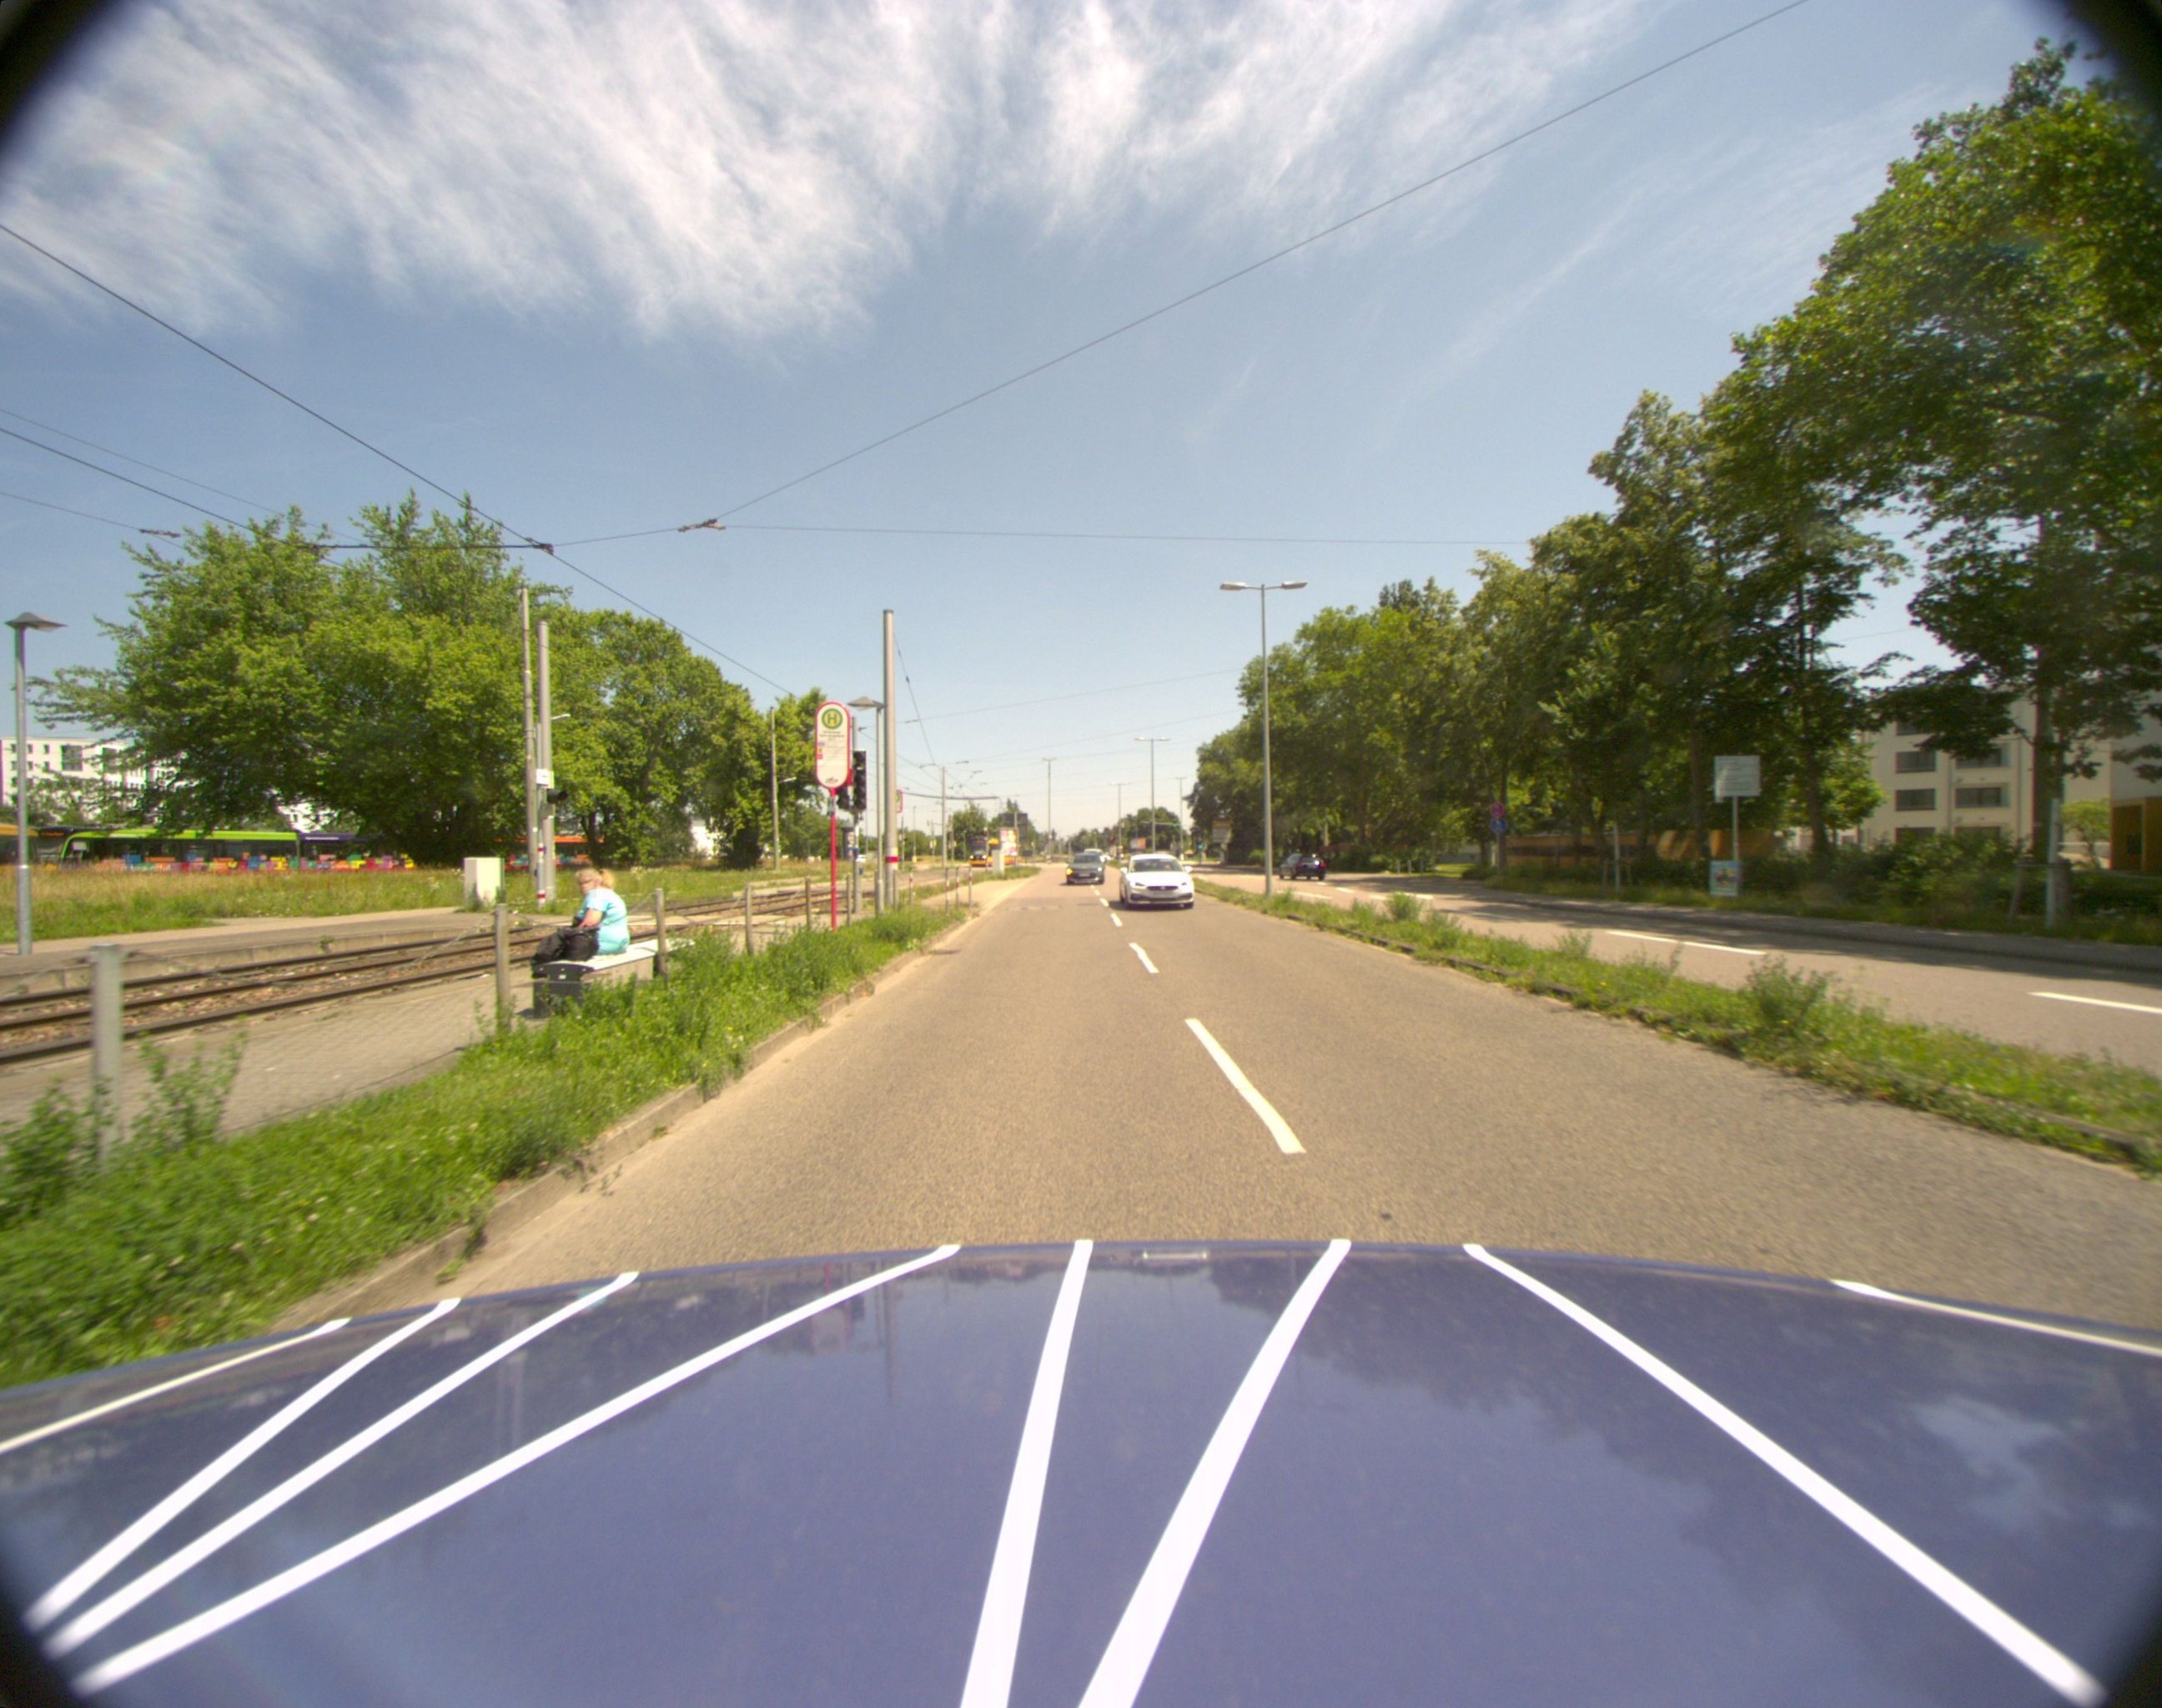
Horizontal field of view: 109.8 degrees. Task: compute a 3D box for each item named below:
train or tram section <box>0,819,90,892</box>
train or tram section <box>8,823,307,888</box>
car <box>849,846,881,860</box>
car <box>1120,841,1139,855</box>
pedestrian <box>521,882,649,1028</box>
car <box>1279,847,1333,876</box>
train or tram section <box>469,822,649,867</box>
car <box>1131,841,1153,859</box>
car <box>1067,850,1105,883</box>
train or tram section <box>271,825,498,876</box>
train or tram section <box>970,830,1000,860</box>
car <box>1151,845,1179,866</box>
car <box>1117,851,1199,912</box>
[{"bbox_3d":[-54.491,0.084,37.064,2.720,3.553,13.218,-1,1,-31],"label":"train or tram section"},{"bbox_3d":[-57.711,0.038,48.556,2.713,3.598,13.251,0,1,1],"label":"train or tram section"},{"bbox_3d":[-27.303,-0.091,96.273,1.849,1.609,4.004,-1,2,19],"label":"car"},{"bbox_3d":[6.218,-0.786,97.340,1.999,1.788,3.998,0,1,-4],"label":"car"},{"bbox_3d":[-4.165,0.826,6.423,0.611,1.123,0.621,-2,2,-1],"label":"pedestrian"},{"bbox_3d":[12.620,0.385,42.896,1.744,1.499,4.635,2,1,2],"label":"car"},{"bbox_3d":[-47.343,-0.935,69.700,13.270,3.629,2.709,-3,2,-30],"label":"train or tram section"},{"bbox_3d":[6.833,-0.459,85.624,1.999,2.002,3.998,0,1,-4],"label":"car"},{"bbox_3d":[0.298,0.600,38.420,1.788,1.554,4.135,0,1,2],"label":"car"},{"bbox_3d":[-55.122,-0.443,61.012,2.709,3.629,13.270,-1,2,24],"label":"train or tram section"},{"bbox_3d":[-11.234,-1.074,89.151,2.524,3.304,7.258,0,1,0],"label":"train or tram section"},{"bbox_3d":[7.116,0.109,64.639,1.816,1.631,3.999,-2,2,0],"label":"car"},{"bbox_3d":[2.048,0.684,21.257,1.772,1.460,4.110,-2,1,-1],"label":"car"}]
